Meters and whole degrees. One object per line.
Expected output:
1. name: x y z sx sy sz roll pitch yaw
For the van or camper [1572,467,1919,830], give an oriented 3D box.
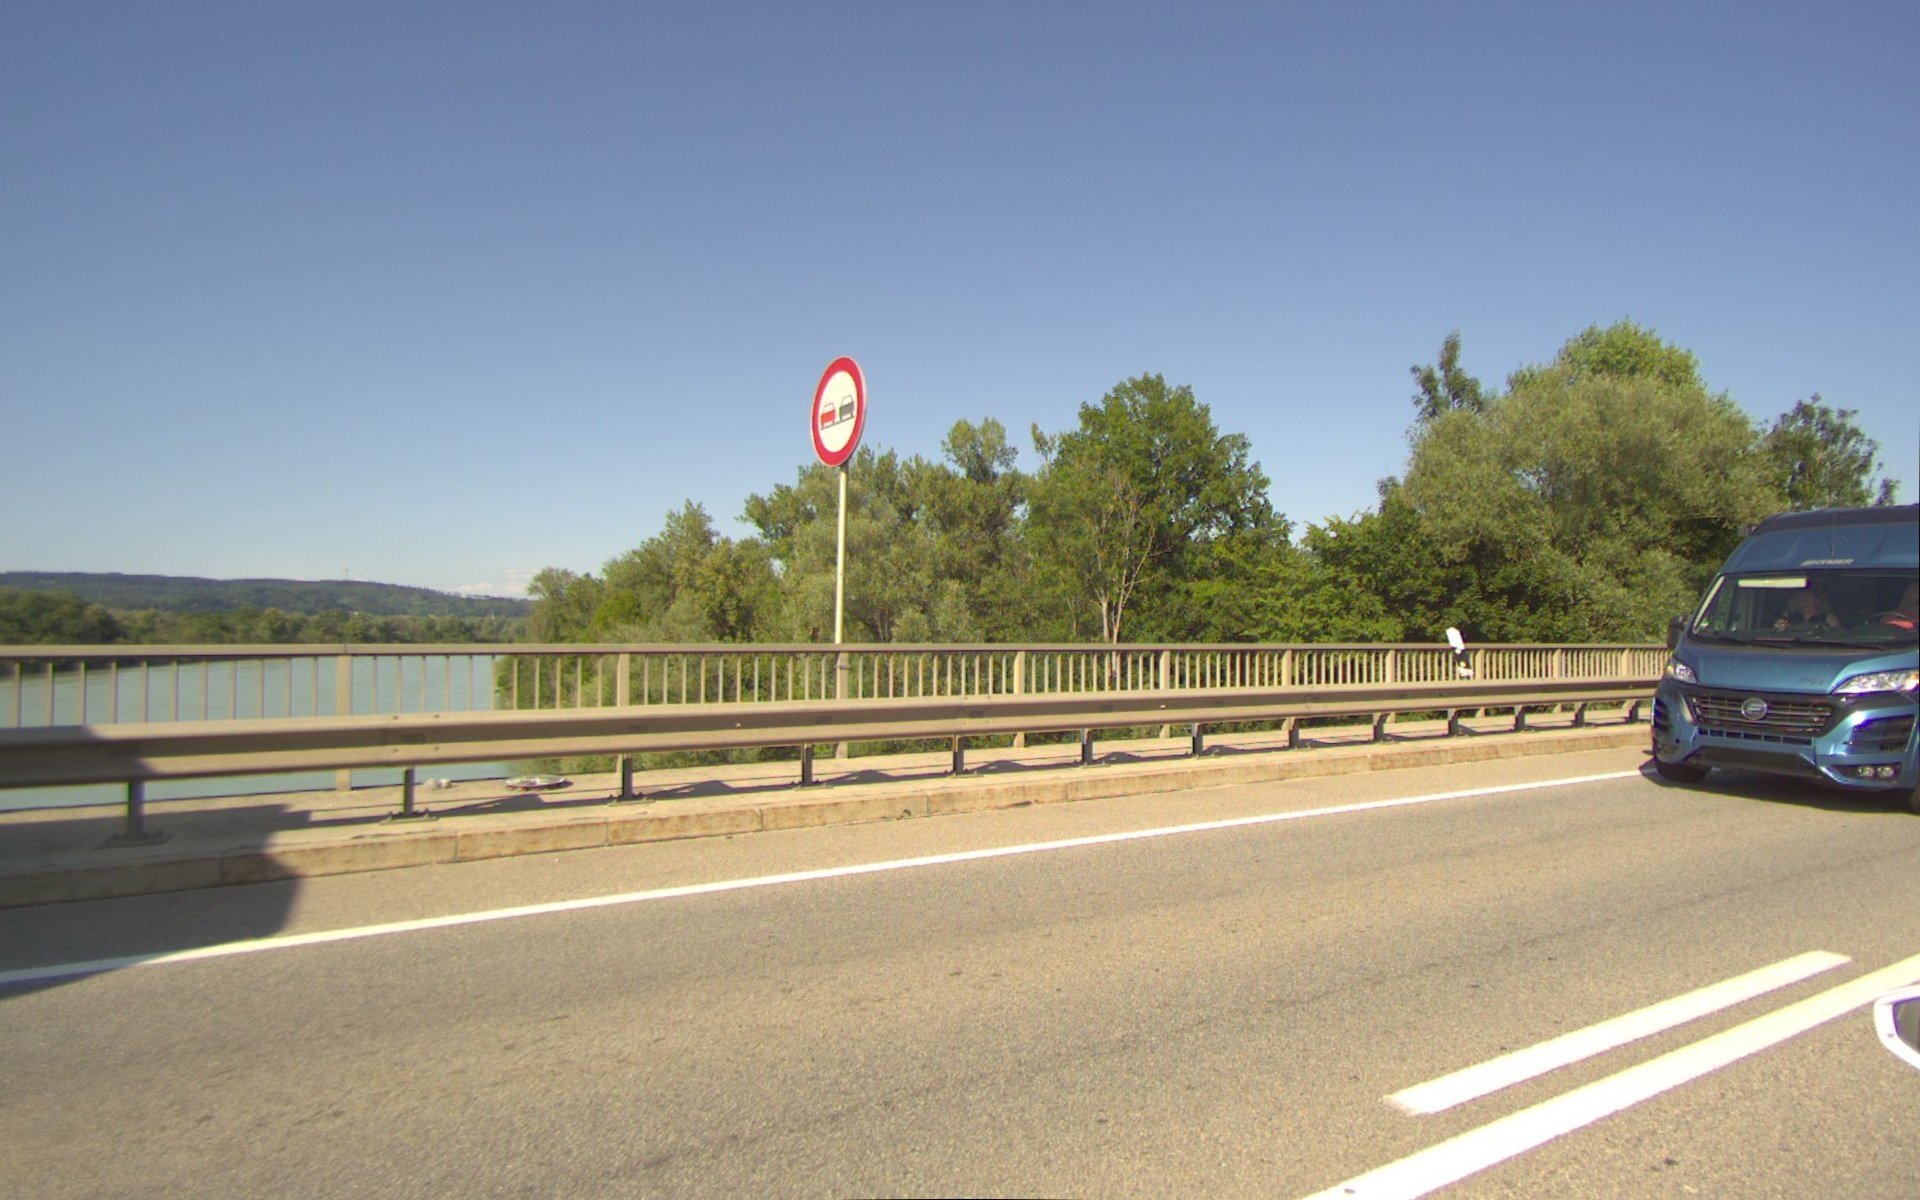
1. van or camper: 9.150 0.415 10.023 6.327 2.677 2.419 1 -1 -29
